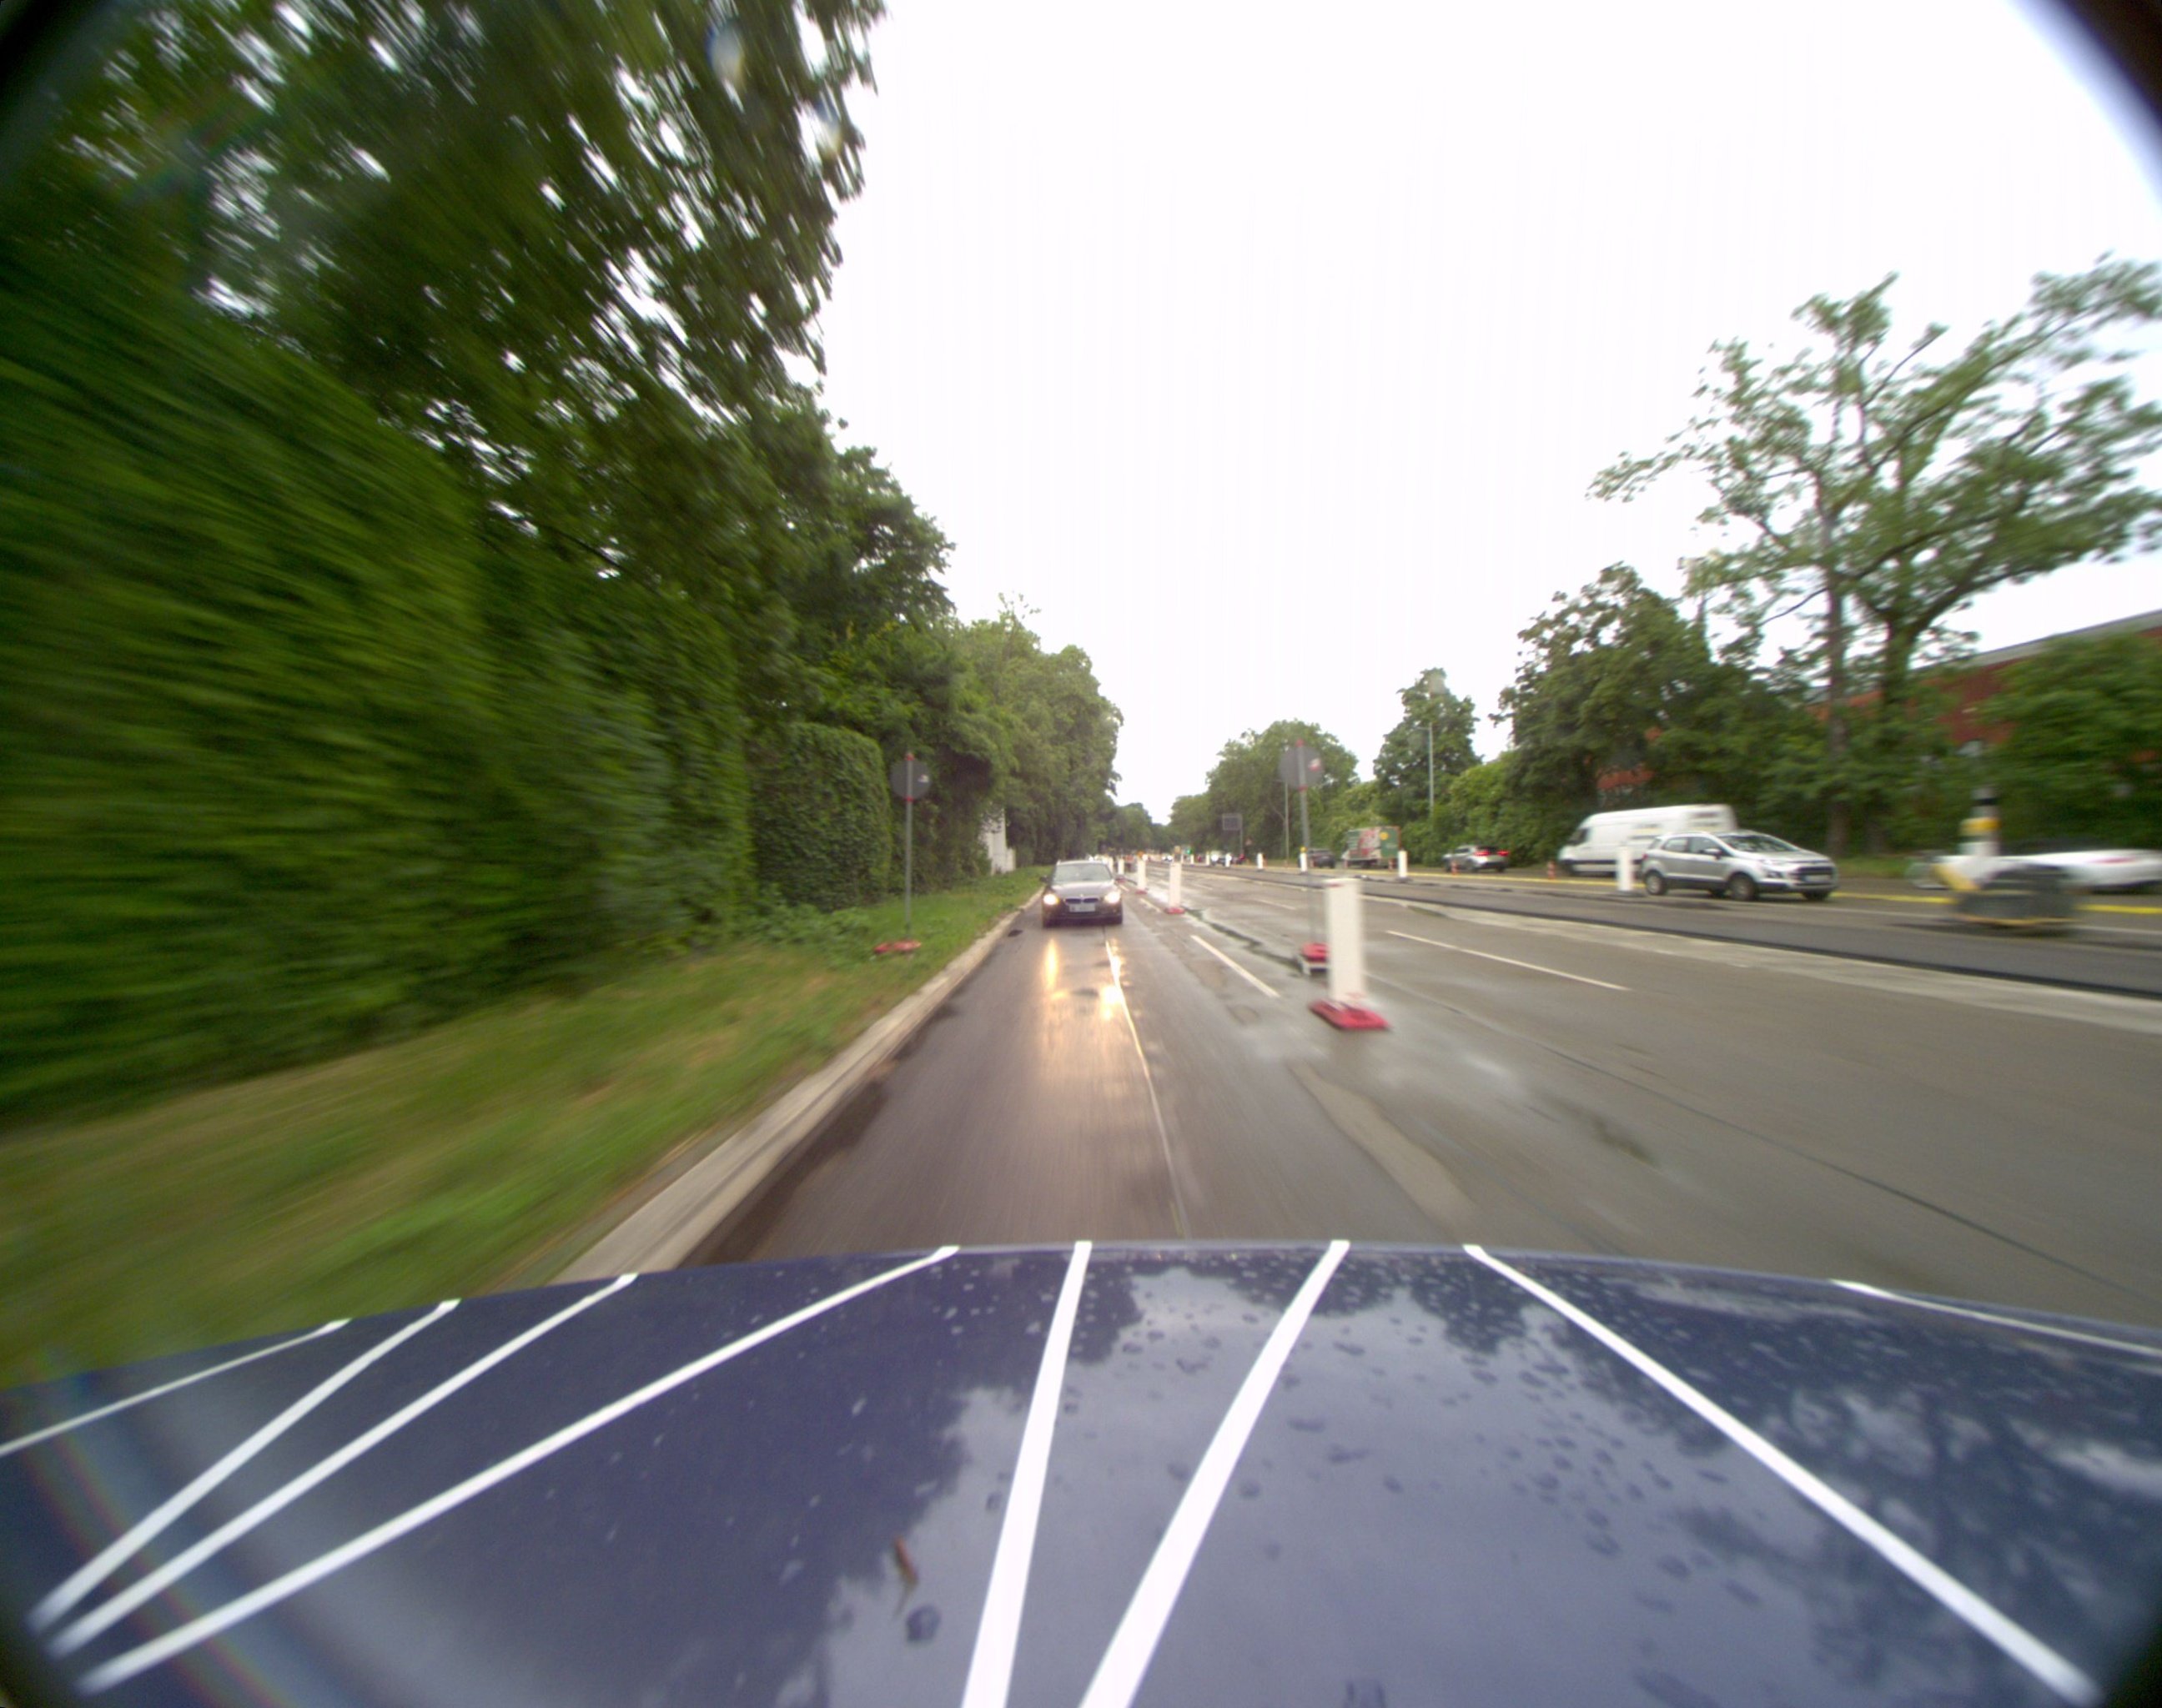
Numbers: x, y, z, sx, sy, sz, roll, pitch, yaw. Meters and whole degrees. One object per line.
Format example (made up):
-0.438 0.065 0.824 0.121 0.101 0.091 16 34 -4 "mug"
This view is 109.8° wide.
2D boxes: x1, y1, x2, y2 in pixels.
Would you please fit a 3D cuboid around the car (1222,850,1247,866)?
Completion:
16.941 0.450 84.151 1.998 1.619 4.813 -2 0 4 "car"

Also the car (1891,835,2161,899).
21.225 0.255 17.076 1.693 1.176 3.999 -3 0 -2 "car"

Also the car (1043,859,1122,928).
0.049 0.836 18.072 1.658 1.409 4.129 -1 0 0 "car"

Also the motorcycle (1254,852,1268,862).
18.255 0.273 77.107 0.810 0.983 2.593 -3 0 0 "motorcycle"

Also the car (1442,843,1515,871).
20.967 0.138 40.277 1.720 1.357 4.081 -1 0 0 "car"

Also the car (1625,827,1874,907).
15.329 0.285 17.826 1.893 1.555 4.363 -3 0 -1 "car"

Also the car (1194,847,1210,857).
19.478 -0.294 122.754 1.893 1.543 4.398 -2 0 0 "car"

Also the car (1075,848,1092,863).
0.326 0.189 93.679 1.998 1.707 4.000 -1 0 3 "car"

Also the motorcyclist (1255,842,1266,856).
18.225 -0.475 76.994 0.816 1.402 0.975 -3 0 0 "motorcyclist"

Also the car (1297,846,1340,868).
18.862 0.242 60.568 1.998 1.683 4.807 -1 0 0 "car"

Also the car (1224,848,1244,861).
18.710 0.041 92.808 1.691 1.434 4.108 -2 0 2 "car"

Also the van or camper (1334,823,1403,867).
21.516 -0.629 57.265 2.303 3.045 7.451 -2 0 0 "van or camper"

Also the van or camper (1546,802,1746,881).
21.296 -0.438 29.332 1.998 2.540 7.730 -3 0 1 "van or camper"
